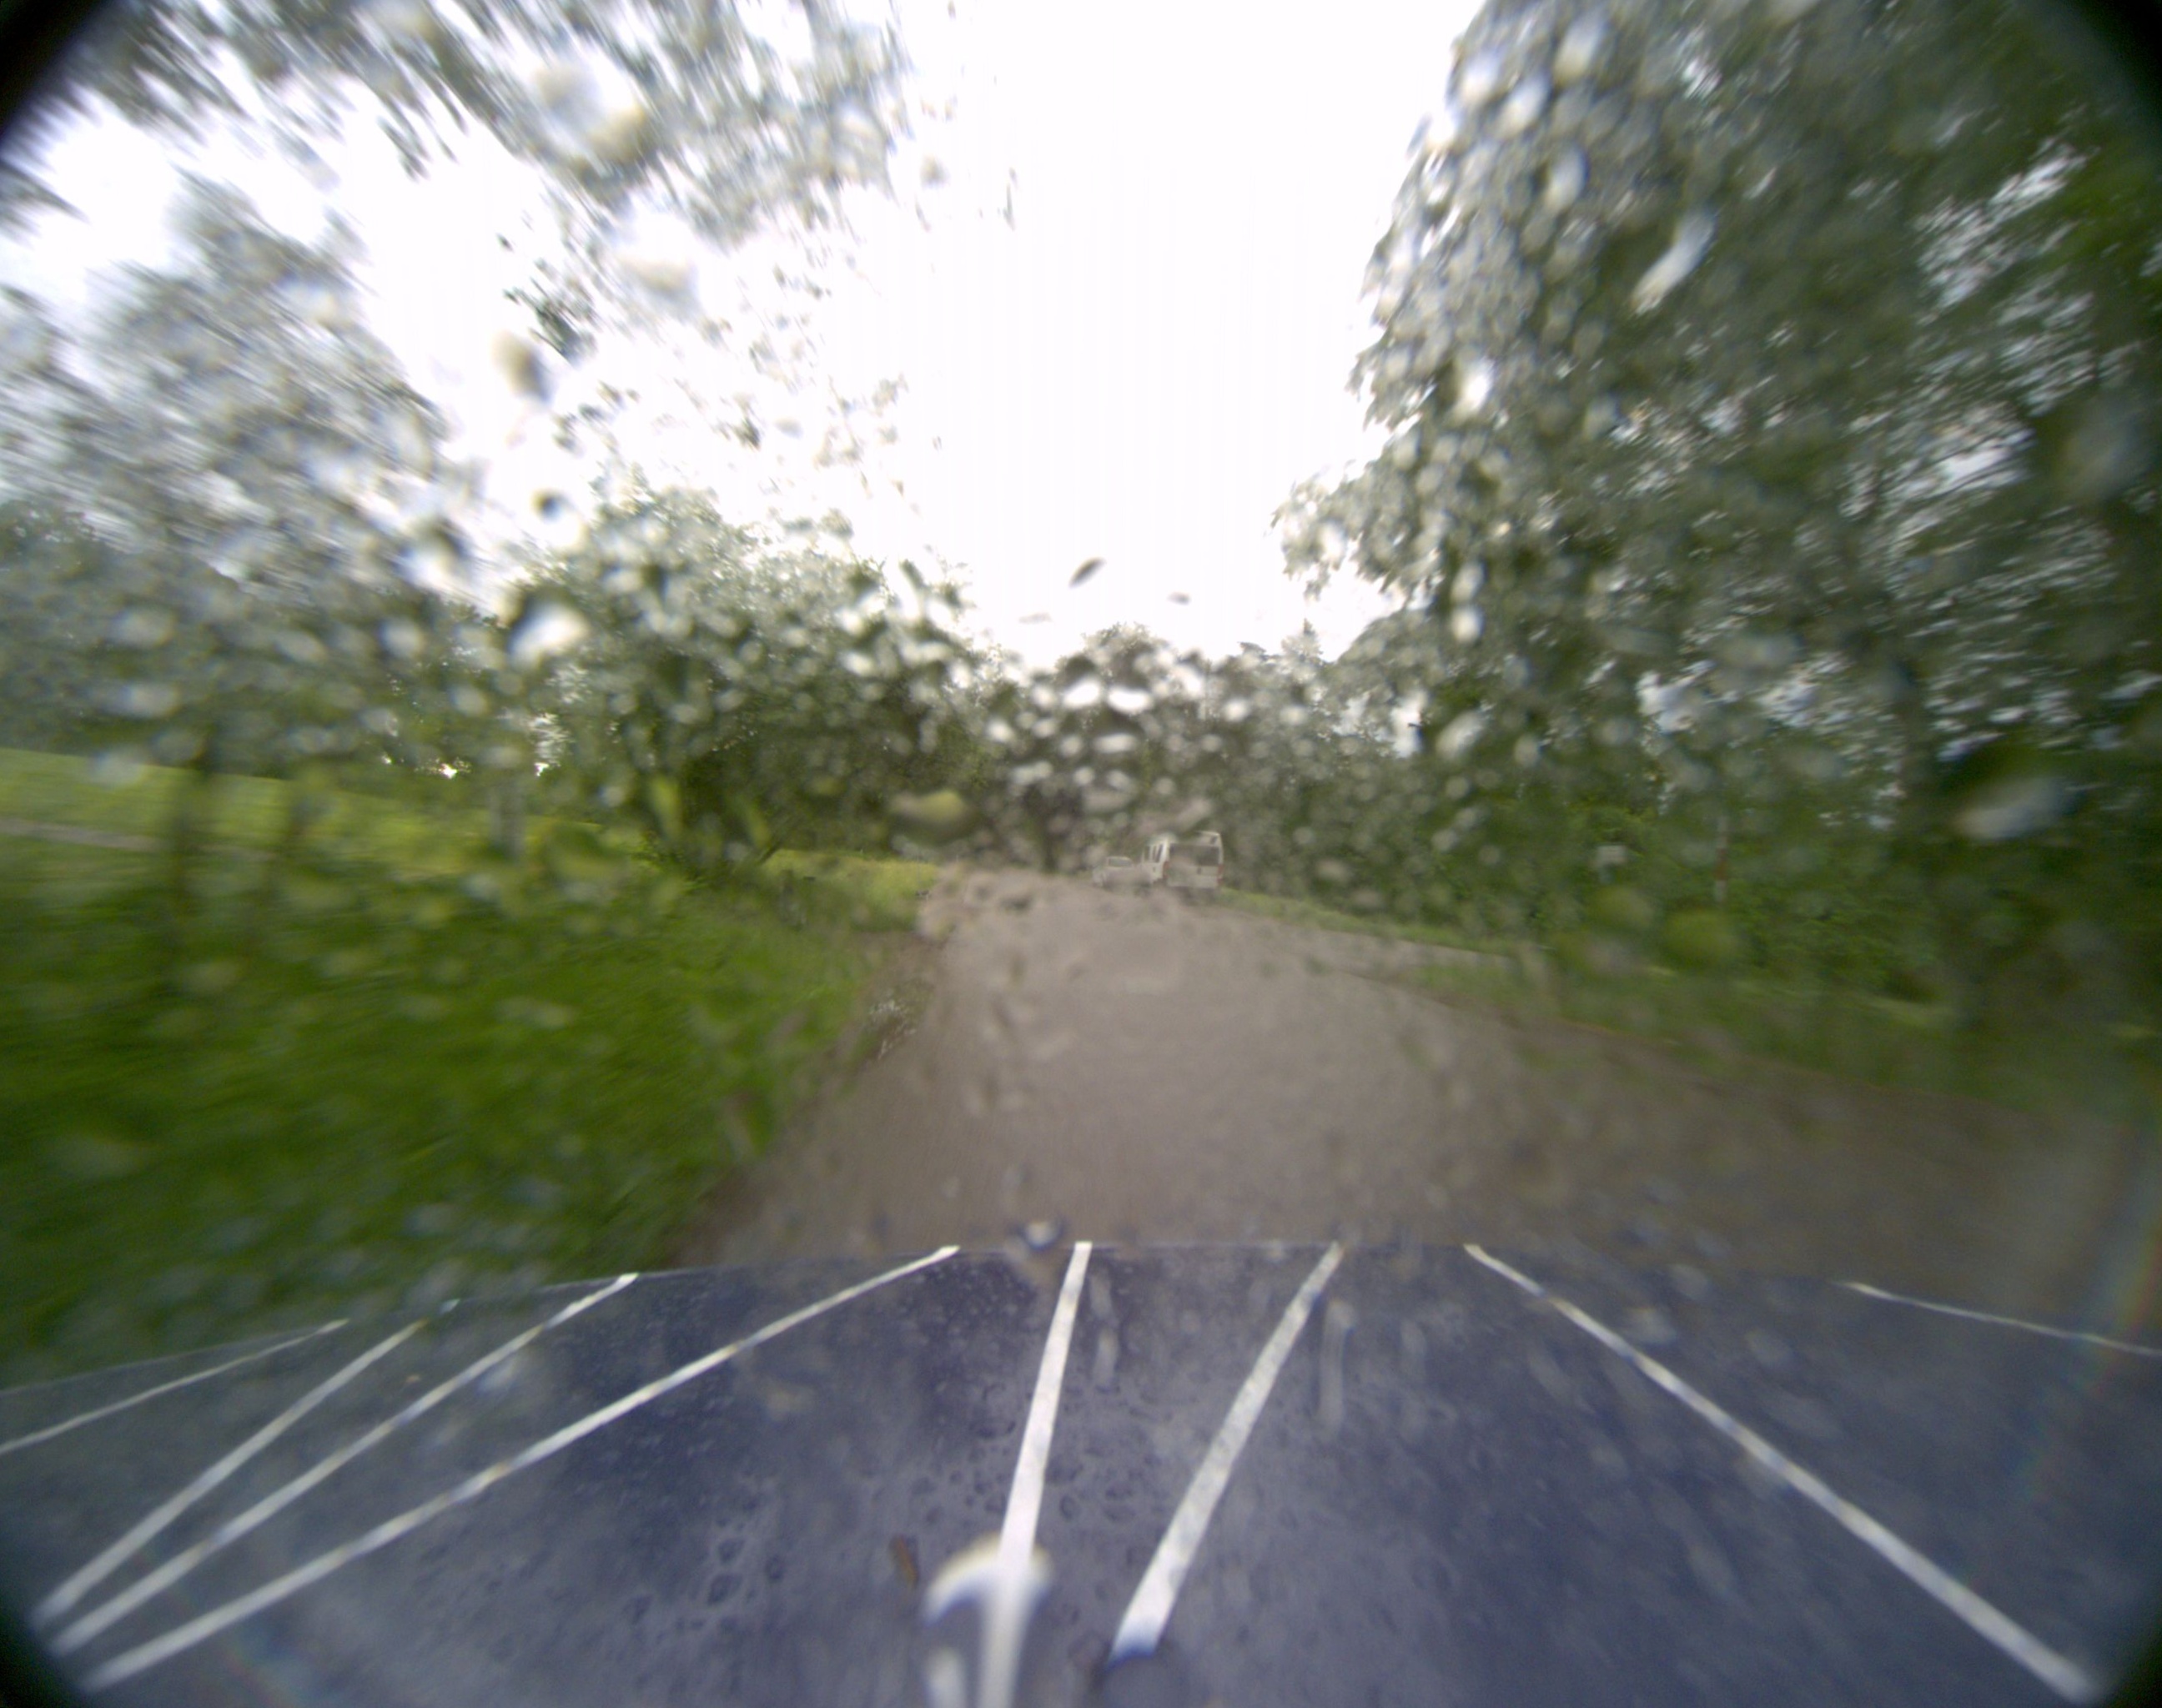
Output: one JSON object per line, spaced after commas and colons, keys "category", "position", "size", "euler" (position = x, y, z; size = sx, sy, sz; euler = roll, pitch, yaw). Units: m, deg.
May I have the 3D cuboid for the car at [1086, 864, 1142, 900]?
{"category": "car", "position": [1.526, 1.326, 37.285], "size": [1.867, 1.586, 4.492], "euler": [3, -1, -9]}

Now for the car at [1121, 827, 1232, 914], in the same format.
{"category": "car", "position": [3.255, 0.593, 27.515], "size": [2.280, 2.680, 6.045], "euler": [4, -2, -9]}
